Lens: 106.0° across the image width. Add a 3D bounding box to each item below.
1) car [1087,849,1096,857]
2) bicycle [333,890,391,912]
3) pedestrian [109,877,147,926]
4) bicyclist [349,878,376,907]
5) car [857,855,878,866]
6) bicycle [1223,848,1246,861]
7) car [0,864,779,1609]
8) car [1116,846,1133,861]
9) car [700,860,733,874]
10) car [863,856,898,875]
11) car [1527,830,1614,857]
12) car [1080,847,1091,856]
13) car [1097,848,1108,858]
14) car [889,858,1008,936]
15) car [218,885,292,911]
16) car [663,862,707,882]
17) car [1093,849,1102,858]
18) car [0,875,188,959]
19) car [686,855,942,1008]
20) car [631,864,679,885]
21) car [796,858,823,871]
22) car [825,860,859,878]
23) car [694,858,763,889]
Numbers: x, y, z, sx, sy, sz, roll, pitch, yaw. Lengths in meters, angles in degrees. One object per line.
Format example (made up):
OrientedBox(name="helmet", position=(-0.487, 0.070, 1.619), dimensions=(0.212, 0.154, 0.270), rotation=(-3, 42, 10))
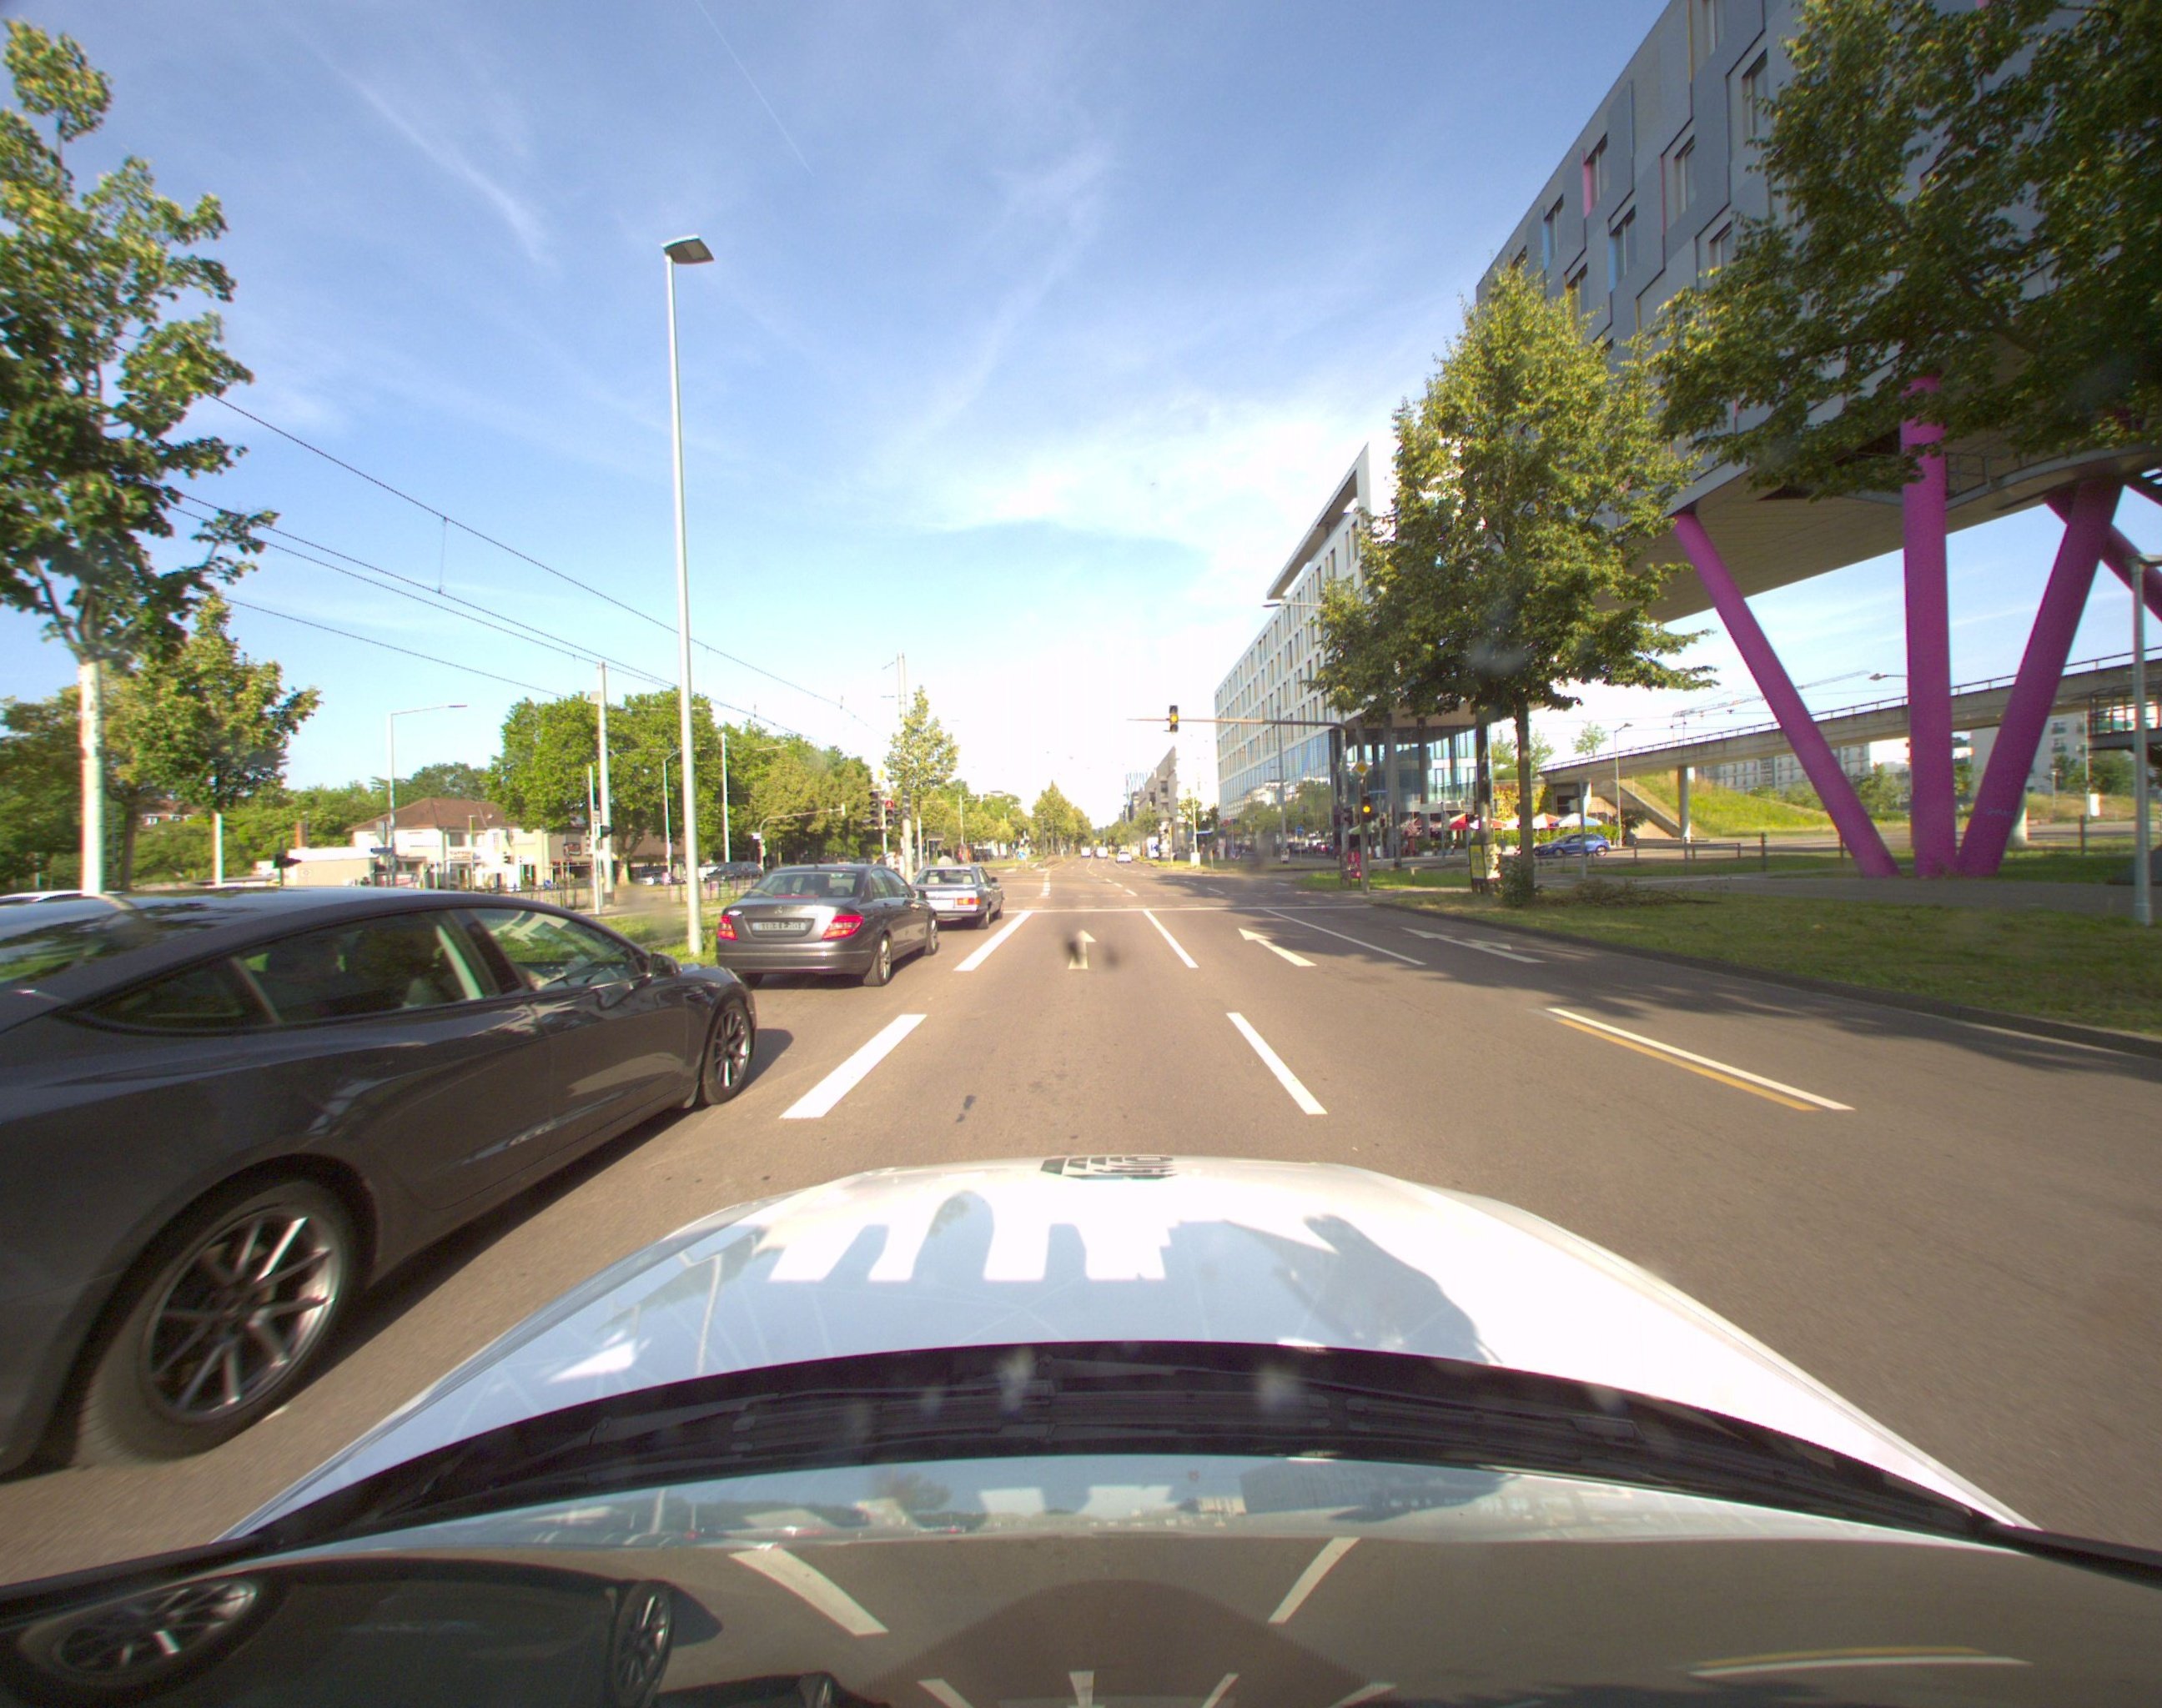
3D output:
OrientedBox(name="car", position=(2.376, -0.245, 182.439), dimensions=(1.918, 1.684, 4.000), rotation=(0, 1, 0))
OrientedBox(name="bicycle", position=(-38.970, 2.529, 44.190), dimensions=(2.204, 1.041, 0.694), rotation=(-2, 0, -22))
OrientedBox(name="pedestrian", position=(-42.776, 2.134, 36.559), dimensions=(0.715, 2.107, 0.887), rotation=(-4, 0, 30))
OrientedBox(name="bicyclist", position=(-38.975, 2.067, 44.198), dimensions=(0.850, 1.493, 0.695), rotation=(-2, 0, -22))
OrientedBox(name="car", position=(-33.375, 1.041, 127.475), dimensions=(1.871, 1.559, 4.007), rotation=(-2, 0, 6))
OrientedBox(name="bicycle", position=(13.456, 0.022, 71.305), dimensions=(0.778, 1.032, 1.856), rotation=(-2, 3, -43))
OrientedBox(name="car", position=(-3.079, 0.800, 3.459), dimensions=(1.883, 1.385, 4.336), rotation=(0, 1, 1))
OrientedBox(name="car", position=(5.176, -0.097, 97.617), dimensions=(1.857, 1.684, 4.002), rotation=(0, 1, 2))
OrientedBox(name="car", position=(-44.679, 1.627, 99.827), dimensions=(1.871, 1.559, 4.007), rotation=(-2, 0, 6))
OrientedBox(name="car", position=(-17.771, 1.014, 72.440), dimensions=(1.987, 1.504, 4.093), rotation=(-3, 0, 1))
OrientedBox(name="car", position=(30.053, -0.640, 50.083), dimensions=(4.171, 1.424, 1.859), rotation=(-3, 1, 0))
OrientedBox(name="car", position=(0.925, -0.427, 159.807), dimensions=(2.007, 1.684, 4.002), rotation=(0, 1, 2))
OrientedBox(name="car", position=(3.730, -0.196, 140.324), dimensions=(1.857, 1.684, 4.002), rotation=(0, 1, 2))
OrientedBox(name="car", position=(-2.628, 0.790, 17.141), dimensions=(1.758, 1.330, 4.400), rotation=(0, 1, 0))
OrientedBox(name="car", position=(-63.928, 3.395, 63.052), dimensions=(3.965, 1.728, 2.005), rotation=(-2, 0, 7))
OrientedBox(name="car", position=(-38.319, 1.766, 78.960), dimensions=(1.871, 1.750, 4.007), rotation=(-2, 0, 6))
OrientedBox(name="car", position=(3.455, -0.065, 168.418), dimensions=(1.917, 1.684, 4.002), rotation=(0, 1, 2))
OrientedBox(name="car", position=(-22.498, 1.331, 17.448), dimensions=(1.989, 1.527, 4.309), rotation=(-2, 1, -2))
OrientedBox(name="car", position=(-3.104, 0.797, 10.514), dimensions=(1.780, 1.478, 4.355), rotation=(0, 1, 1))
OrientedBox(name="car", position=(-38.771, 1.842, 74.204), dimensions=(1.871, 1.750, 4.007), rotation=(-2, 0, 6))
OrientedBox(name="car", position=(-35.745, 1.408, 107.389), dimensions=(1.871, 1.559, 4.007), rotation=(-2, 0, 6))
OrientedBox(name="car", position=(-23.603, 1.470, 80.534), dimensions=(1.869, 1.527, 4.227), rotation=(-2, 1, 3))
OrientedBox(name="car", position=(-21.833, 1.182, 50.671), dimensions=(1.986, 1.684, 4.996), rotation=(-2, 1, 1))
